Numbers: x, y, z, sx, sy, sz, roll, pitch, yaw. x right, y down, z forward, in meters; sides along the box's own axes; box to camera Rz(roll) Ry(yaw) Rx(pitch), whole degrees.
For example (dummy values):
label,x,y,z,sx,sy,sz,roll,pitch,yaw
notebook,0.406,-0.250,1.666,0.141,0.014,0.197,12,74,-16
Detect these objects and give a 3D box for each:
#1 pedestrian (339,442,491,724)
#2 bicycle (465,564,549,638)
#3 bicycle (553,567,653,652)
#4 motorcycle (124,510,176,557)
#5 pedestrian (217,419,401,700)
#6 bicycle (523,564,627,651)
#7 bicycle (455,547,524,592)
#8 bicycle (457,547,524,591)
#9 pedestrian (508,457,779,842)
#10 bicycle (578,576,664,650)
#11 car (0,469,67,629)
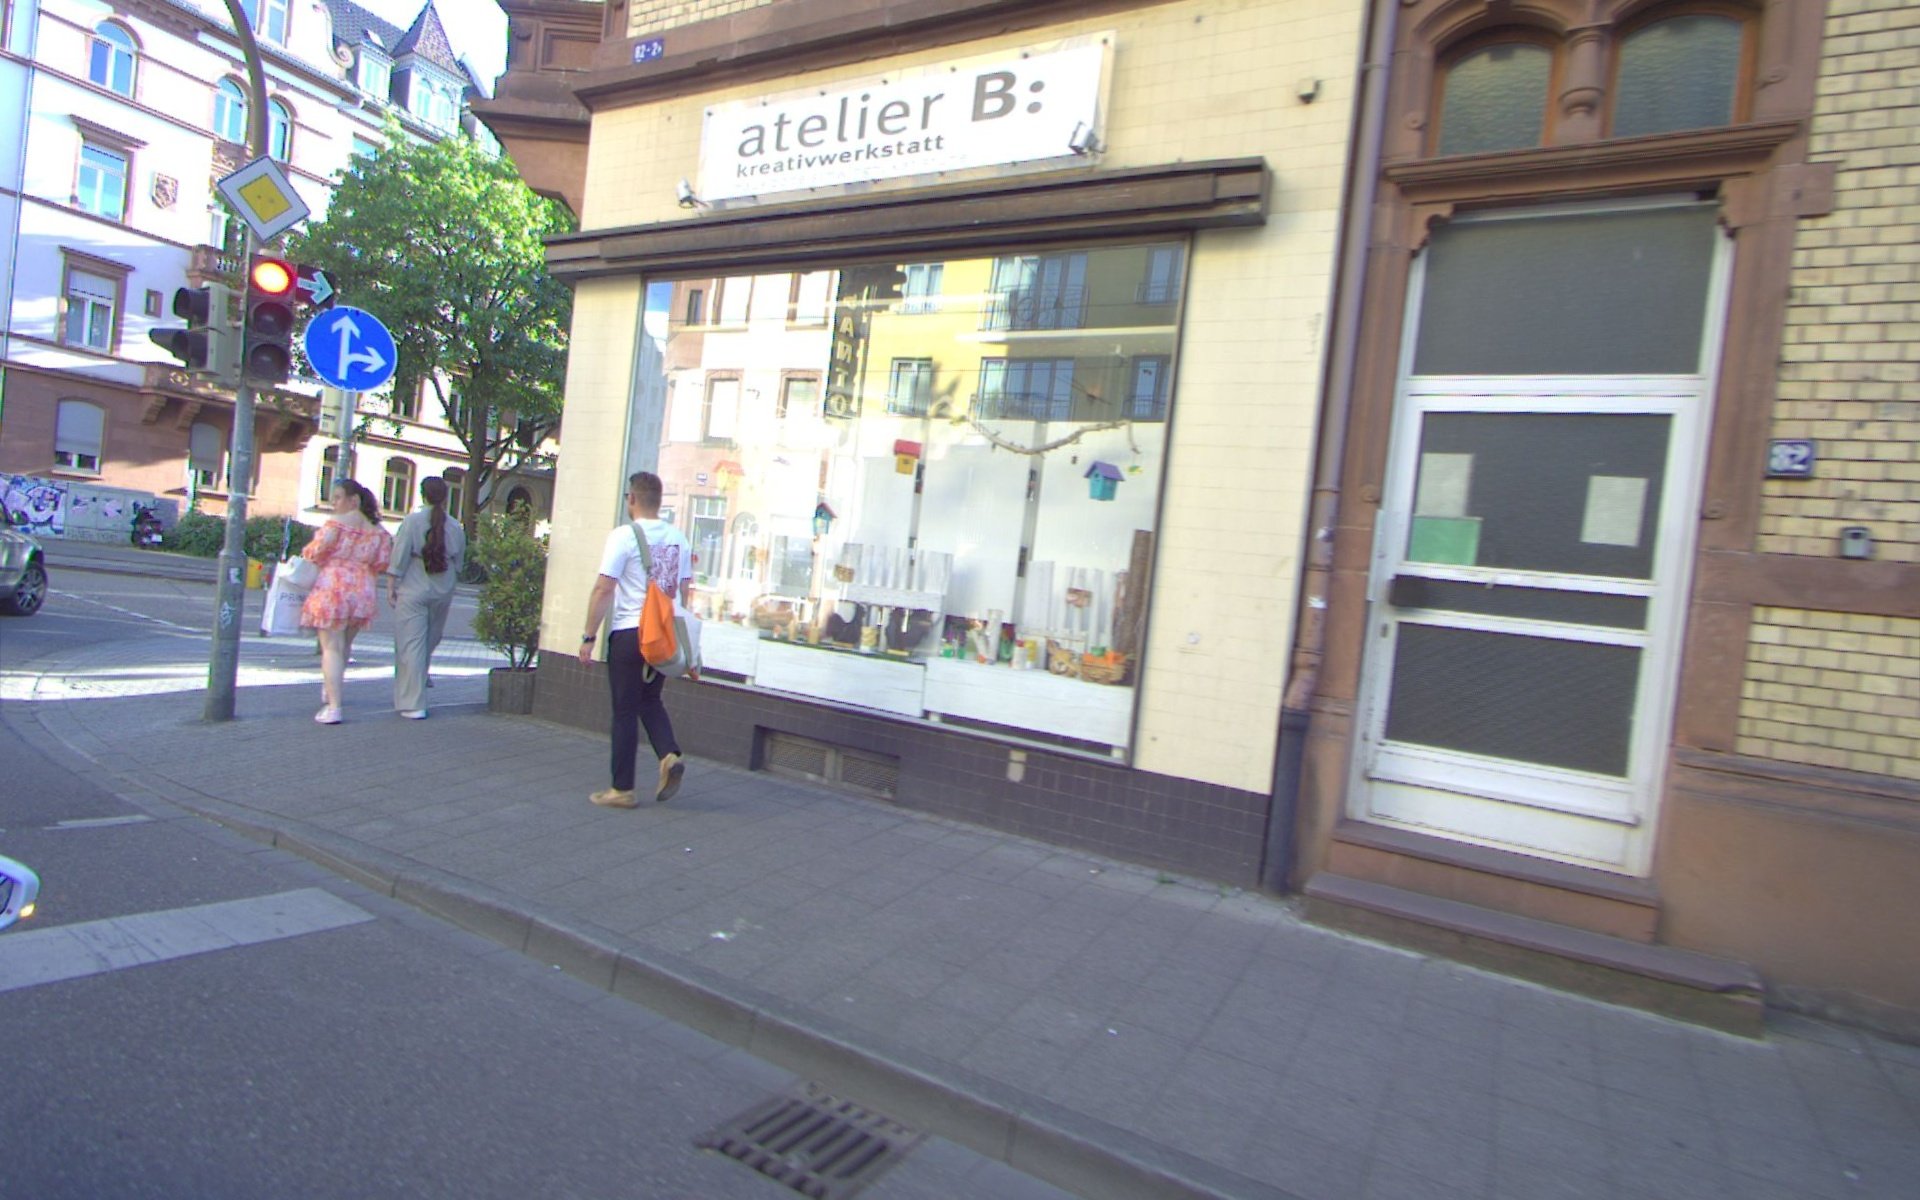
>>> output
label,x,y,z,sx,sy,sz,roll,pitch,yaw
pedestrian,-4.006,-0.137,7.407,0.659,1.936,0.690,8,6,28
bicycle,-7.248,0.014,16.089,1.048,1.058,0.777,5,0,39
bicycle,-5.957,0.144,16.740,1.890,1.239,0.449,5,1,34
motorcycle,-22.732,-1.873,28.204,2.254,1.033,0.718,10,3,41
pedestrian,-4.585,-0.293,7.100,0.748,1.826,0.805,8,6,28
bicycle,-6.258,0.106,16.317,1.890,1.239,0.504,5,1,34
bicycle,-14.796,-0.965,31.660,1.839,1.177,0.556,6,3,-23
bicycle,-15.012,-0.985,32.218,1.839,1.177,0.556,6,3,-23
pedestrian,-1.714,0.207,5.451,1.073,1.826,0.805,8,6,28
bicycle,-5.828,0.221,17.264,1.586,1.125,0.449,5,1,34
car,-10.682,-0.634,9.880,1.980,1.637,3.969,8,-2,-31
